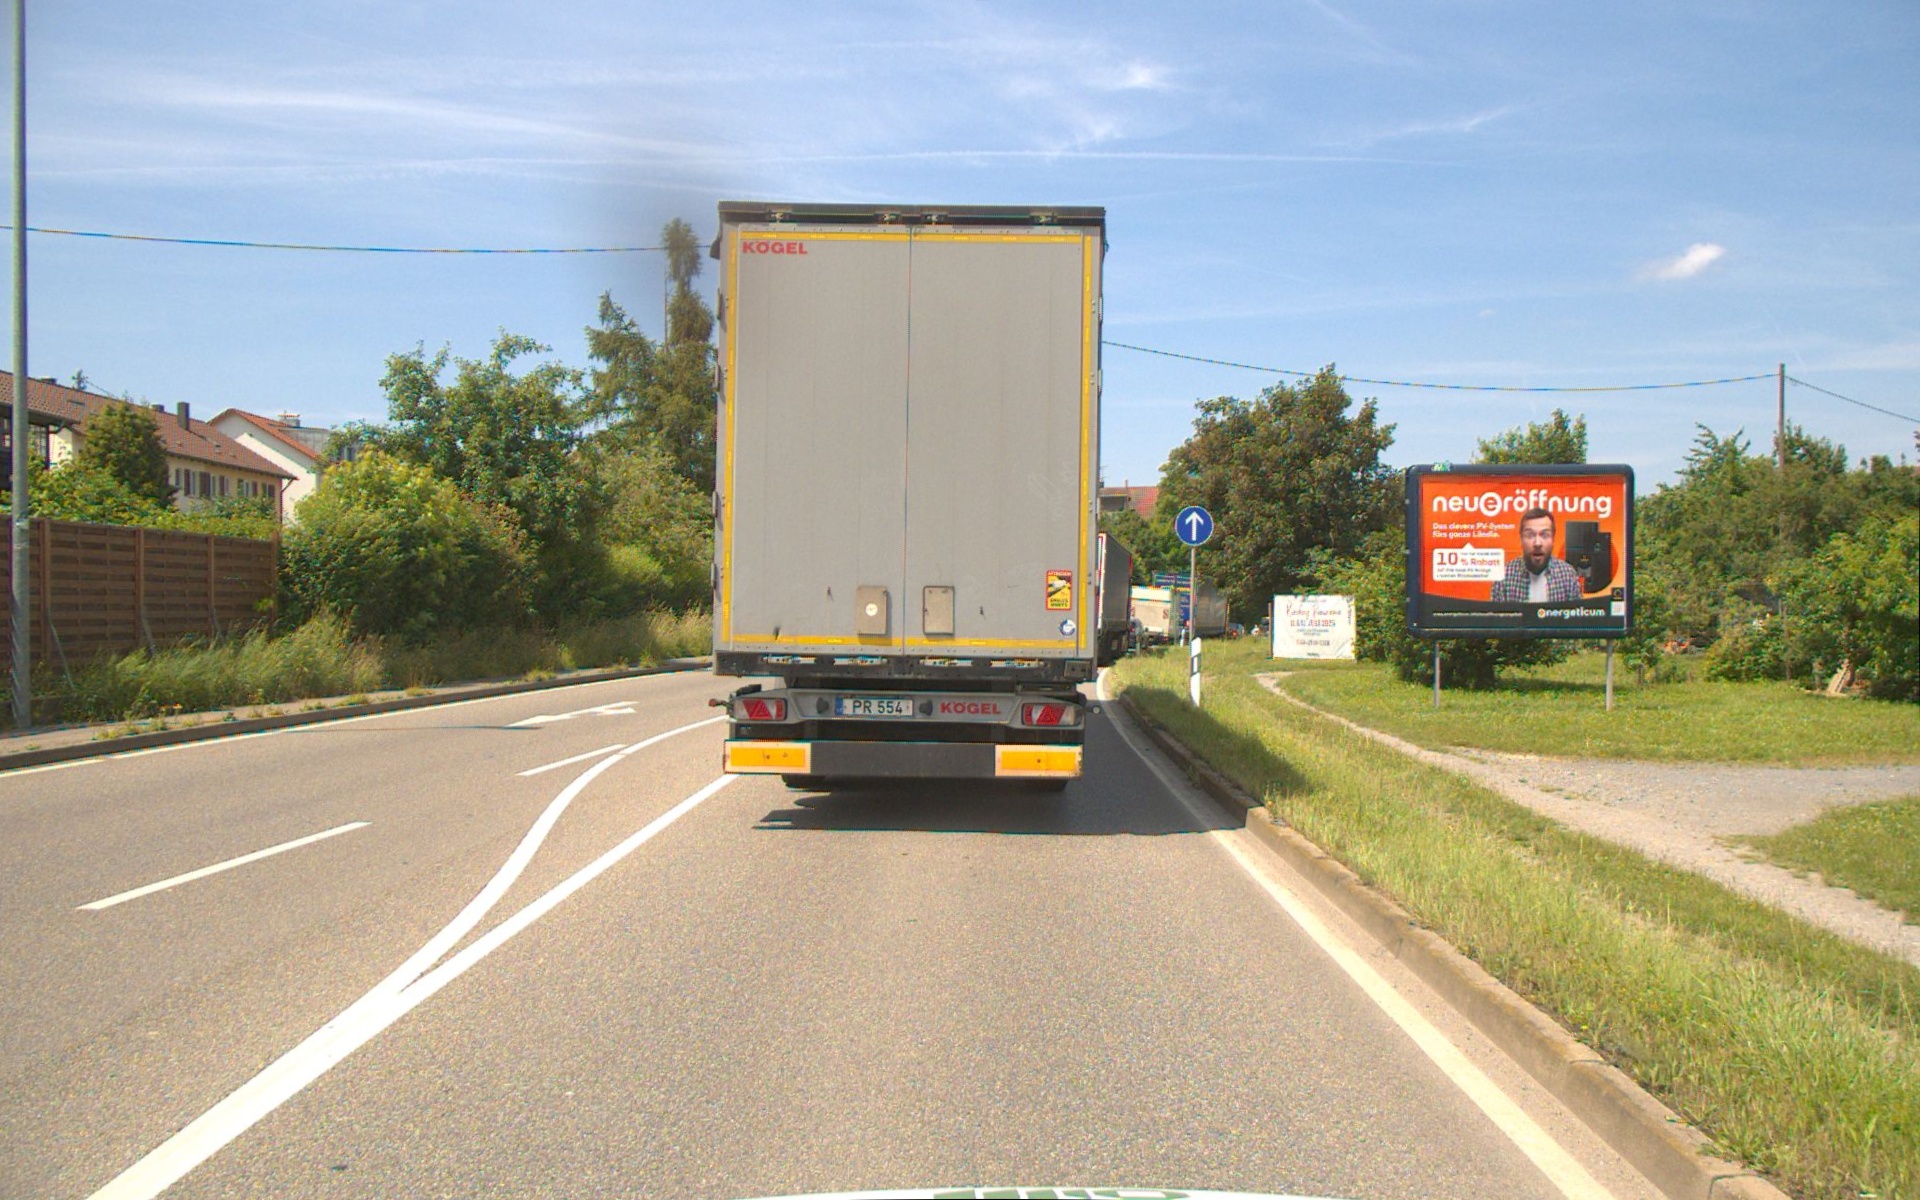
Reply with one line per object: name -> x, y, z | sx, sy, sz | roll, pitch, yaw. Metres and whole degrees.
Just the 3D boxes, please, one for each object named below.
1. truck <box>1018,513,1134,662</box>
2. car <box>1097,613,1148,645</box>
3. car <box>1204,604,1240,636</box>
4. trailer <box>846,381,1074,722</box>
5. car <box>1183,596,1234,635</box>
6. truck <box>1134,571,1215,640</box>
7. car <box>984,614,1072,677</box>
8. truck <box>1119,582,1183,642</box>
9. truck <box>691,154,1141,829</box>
truck -> 4.295, -0.237, 57.164 | 2.701, 4.364, 16.427 | 1, -1, 8
car -> 7.421, 1.315, 75.201 | 1.951, 1.400, 4.003 | 1, -1, 11
car -> 17.588, 1.370, 110.789 | 1.951, 2.049, 4.003 | 1, -1, 15
trailer -> 0.091, -0.610, 23.702 | 2.767, 4.183, 6.545 | 1, 0, 2
car -> 15.753, 0.935, 104.658 | 2.478, 2.317, 6.386 | 1, 0, 15
truck -> 12.174, 0.254, 93.219 | 3.360, 3.667, 9.361 | 1, 0, 14
car -> 1.669, 1.057, 39.371 | 1.780, 1.370, 3.850 | 1, -1, 7
truck -> 9.663, 0.620, 83.181 | 2.489, 2.852, 6.036 | 1, -1, 13
truck -> -0.118, -0.709, 16.122 | 2.763, 4.200, 11.446 | 1, 0, 2
